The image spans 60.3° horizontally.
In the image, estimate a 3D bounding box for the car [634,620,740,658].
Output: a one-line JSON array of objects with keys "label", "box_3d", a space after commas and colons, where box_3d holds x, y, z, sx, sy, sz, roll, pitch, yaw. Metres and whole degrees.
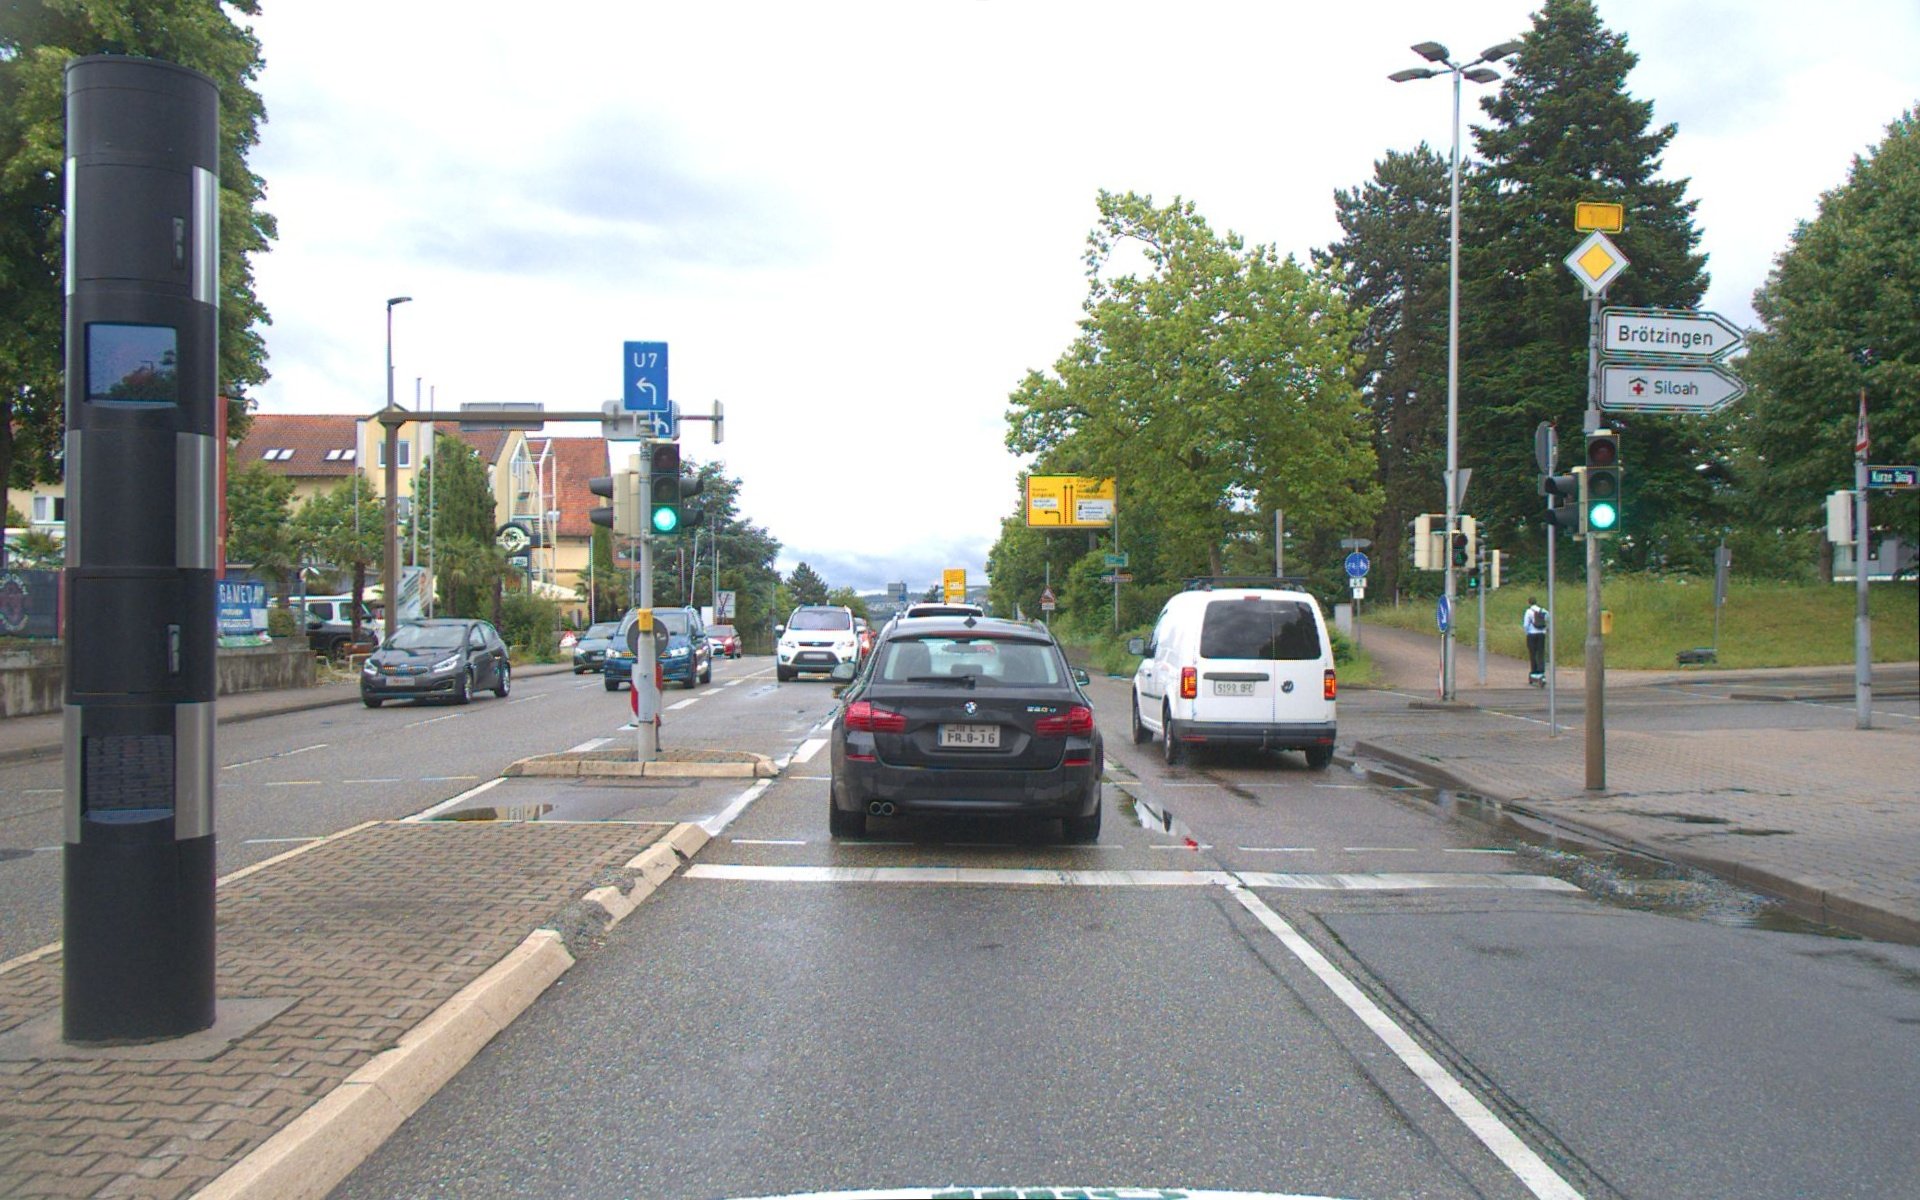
[{"label": "car", "box_3d": [-11.015, 1.588, 66.930, 3.946, 1.503, 1.643, -1, -1, 4]}]

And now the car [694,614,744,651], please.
[{"label": "car", "box_3d": [-10.809, 1.445, 74.471, 1.734, 1.596, 3.999, 0, -1, -1]}]

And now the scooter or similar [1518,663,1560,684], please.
[{"label": "scooter or similar", "box_3d": [13.067, 1.656, 37.341, 0.477, 0.410, 1.255, 0, 0, -1]}]

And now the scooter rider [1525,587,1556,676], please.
[{"label": "scooter rider", "box_3d": [13.072, 0.699, 37.272, 0.490, 2.000, 0.547, 0, 0, -1]}]

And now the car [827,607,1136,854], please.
[{"label": "car", "box_3d": [0.115, 0.829, 12.026, 1.860, 1.467, 3.999, 1, -1, -1]}]

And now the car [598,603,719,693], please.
[{"label": "car", "box_3d": [-6.155, 0.935, 34.186, 1.802, 1.678, 4.295, -2, 0, -2]}]

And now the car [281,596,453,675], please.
[{"label": "car", "box_3d": [-16.875, 0.987, 47.081, 4.339, 2.049, 1.980, -2, 0, -30]}]

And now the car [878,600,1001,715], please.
[{"label": "car", "box_3d": [-0.322, 0.870, 26.971, 1.830, 1.703, 3.999, 1, 0, -1]}]

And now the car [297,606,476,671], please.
[{"label": "car", "box_3d": [-17.694, 1.184, 51.098, 4.942, 1.732, 1.980, -2, -3, -29]}]

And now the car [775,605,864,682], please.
[{"label": "car", "box_3d": [-3.186, 0.955, 38.153, 1.802, 1.678, 4.295, 0, 0, -2]}]

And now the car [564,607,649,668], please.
[{"label": "car", "box_3d": [-10.220, 1.045, 48.055, 1.642, 1.646, 3.999, -1, 0, -1]}]

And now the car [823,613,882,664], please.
[{"label": "car", "box_3d": [-3.146, 1.149, 49.028, 1.599, 1.459, 4.142, 0, -2, -2]}]

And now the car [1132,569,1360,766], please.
[{"label": "car", "box_3d": [3.009, 0.654, 18.144, 1.729, 1.910, 3.804, 1, 0, -2]}]

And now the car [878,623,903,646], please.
[{"label": "car", "box_3d": [-5.534, 2.748, 131.544, 1.830, 1.703, 3.999, 1, 0, -1]}]

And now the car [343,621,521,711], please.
[{"label": "car", "box_3d": [-9.301, 1.117, 29.504, 1.878, 1.403, 4.124, -2, 0, -1]}]
